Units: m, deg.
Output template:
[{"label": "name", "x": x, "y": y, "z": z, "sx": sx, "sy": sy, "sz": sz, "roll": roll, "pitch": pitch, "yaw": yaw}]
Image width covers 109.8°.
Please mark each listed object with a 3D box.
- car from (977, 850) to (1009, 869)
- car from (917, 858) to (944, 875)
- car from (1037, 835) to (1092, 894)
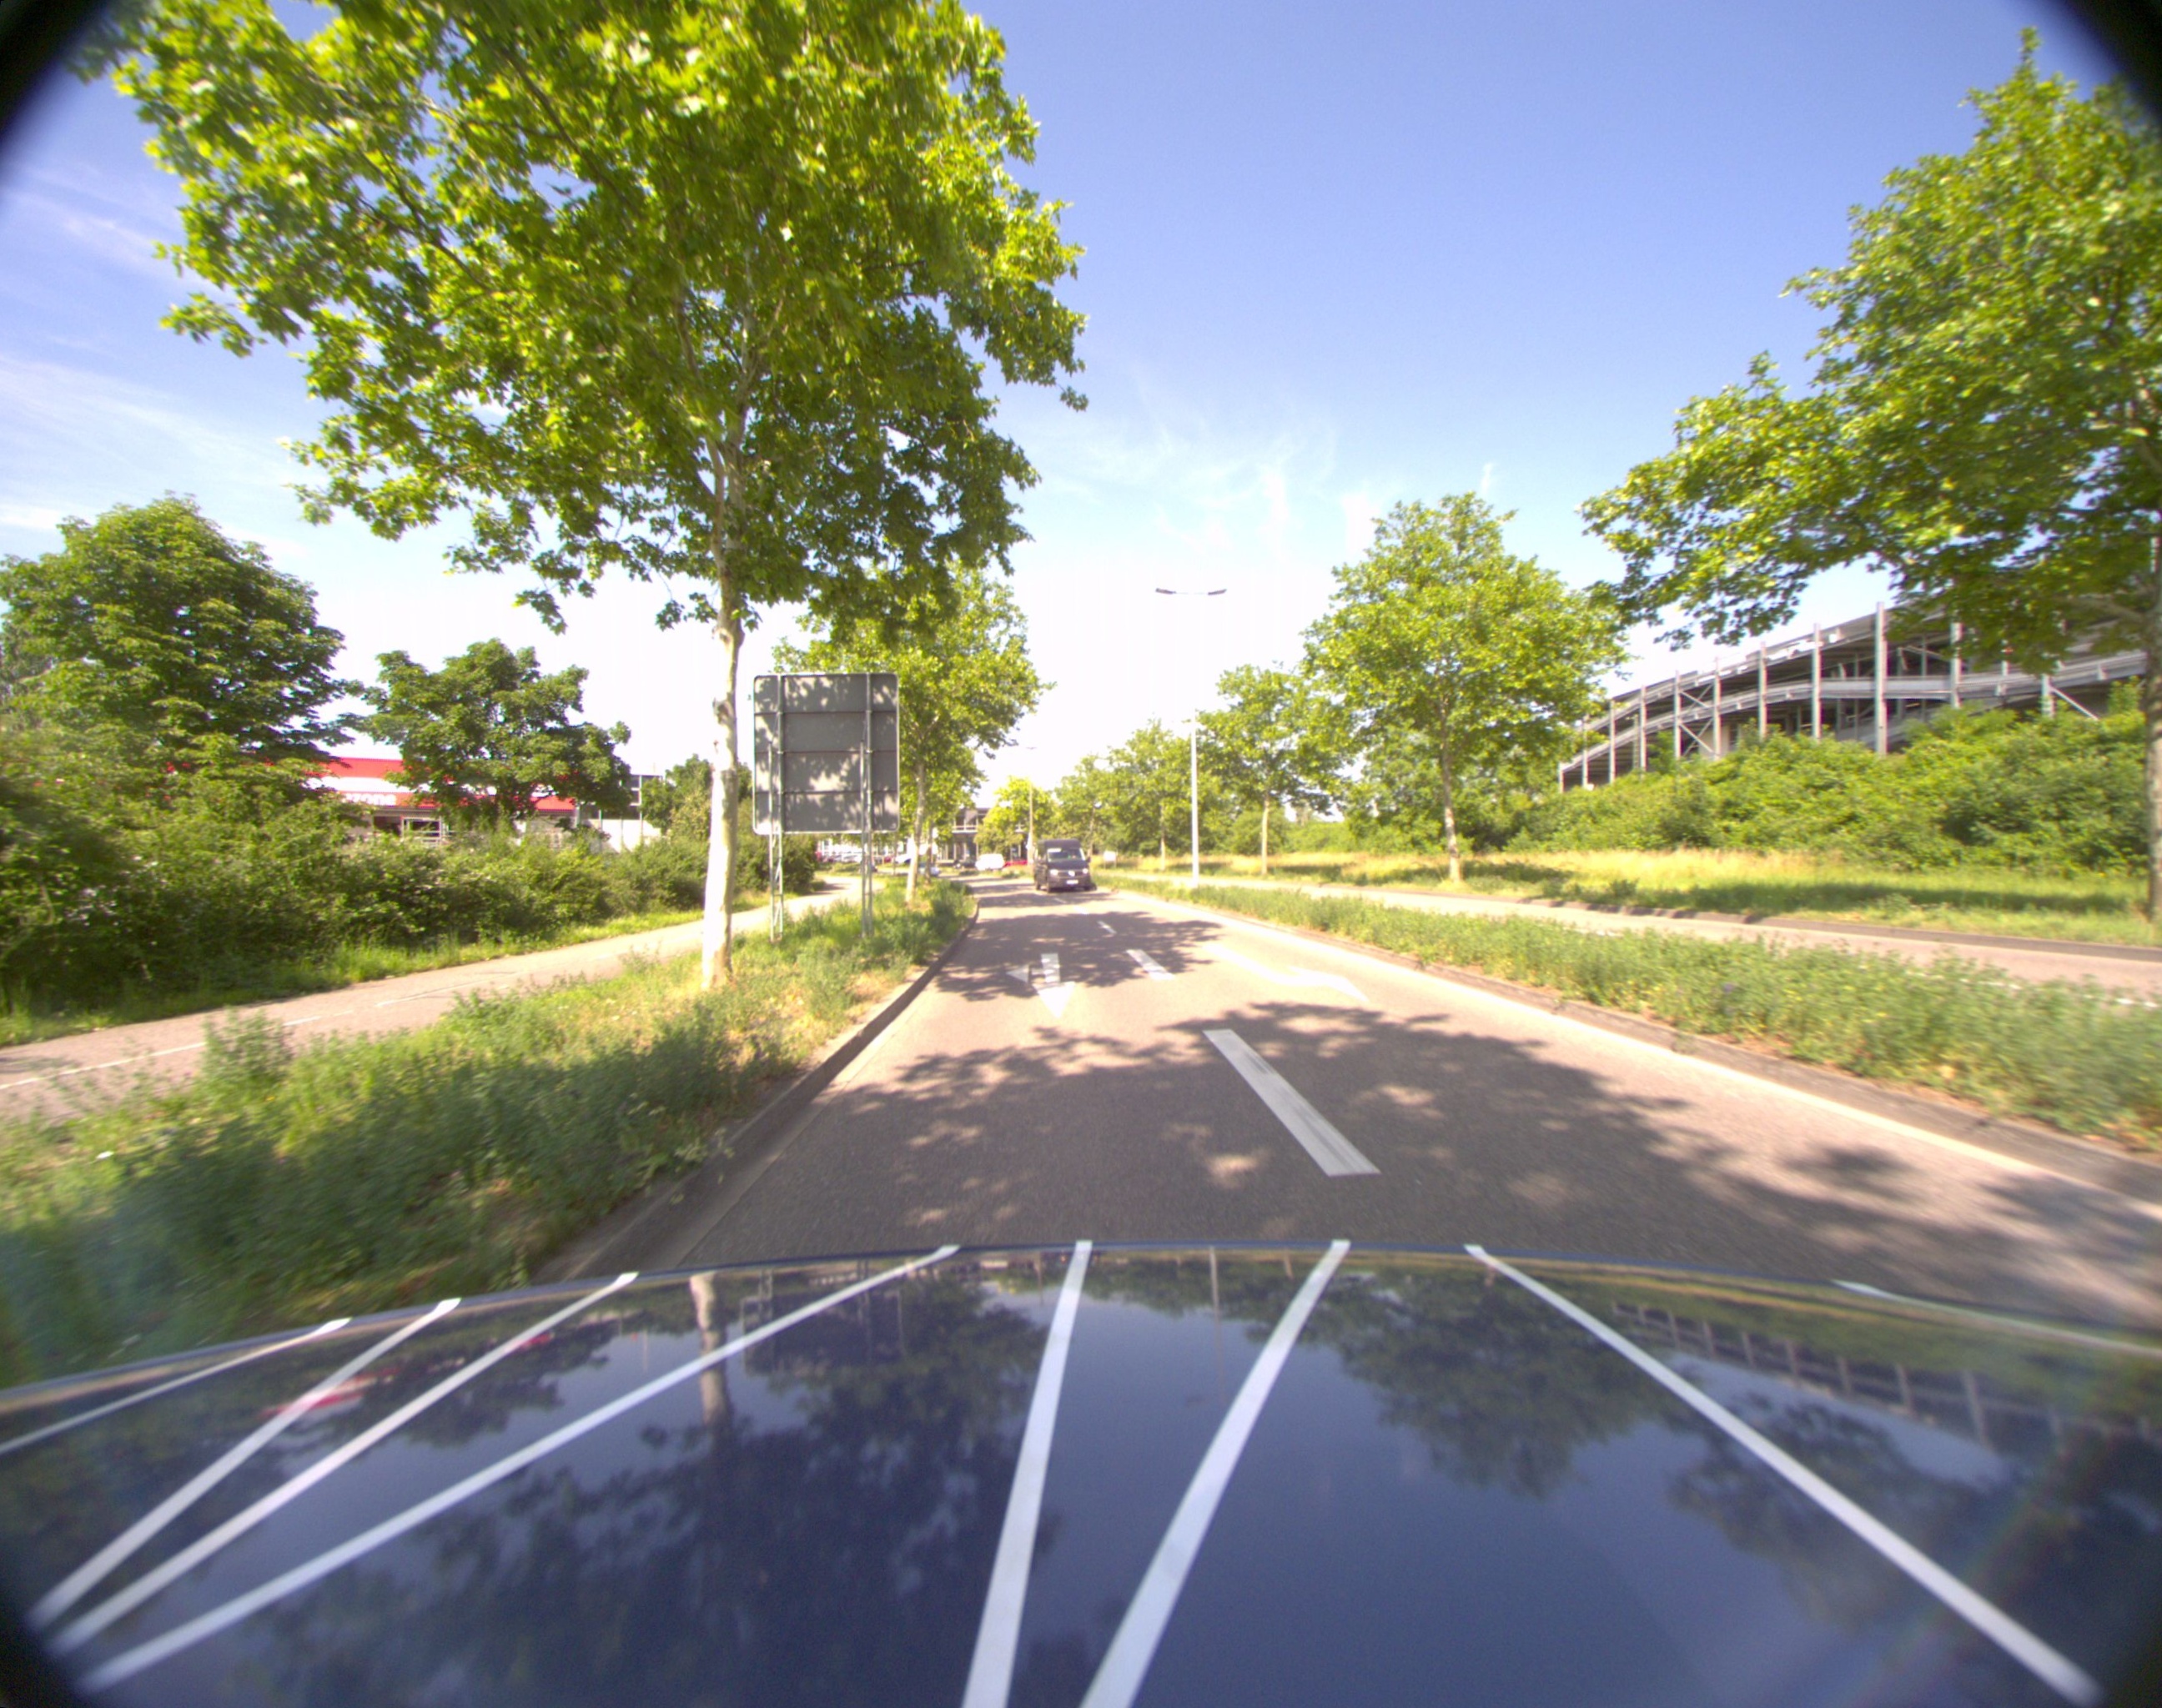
[{"label": "car", "x": -10.146, "y": 0.648, "z": 87.084, "sx": 2.003, "sy": 2.002, "sz": 4.506, "roll": -2, "pitch": 1, "yaw": -30}, {"label": "car", "x": -14.175, "y": 1.141, "z": 71.415, "sx": 1.827, "sy": 1.512, "sz": 4.201, "roll": -2, "pitch": 1, "yaw": -20}, {"label": "car", "x": -0.900, "y": 0.455, "z": 37.237, "sx": 2.022, "sy": 2.592, "sz": 6.164, "roll": -2, "pitch": 0, "yaw": -7}]
